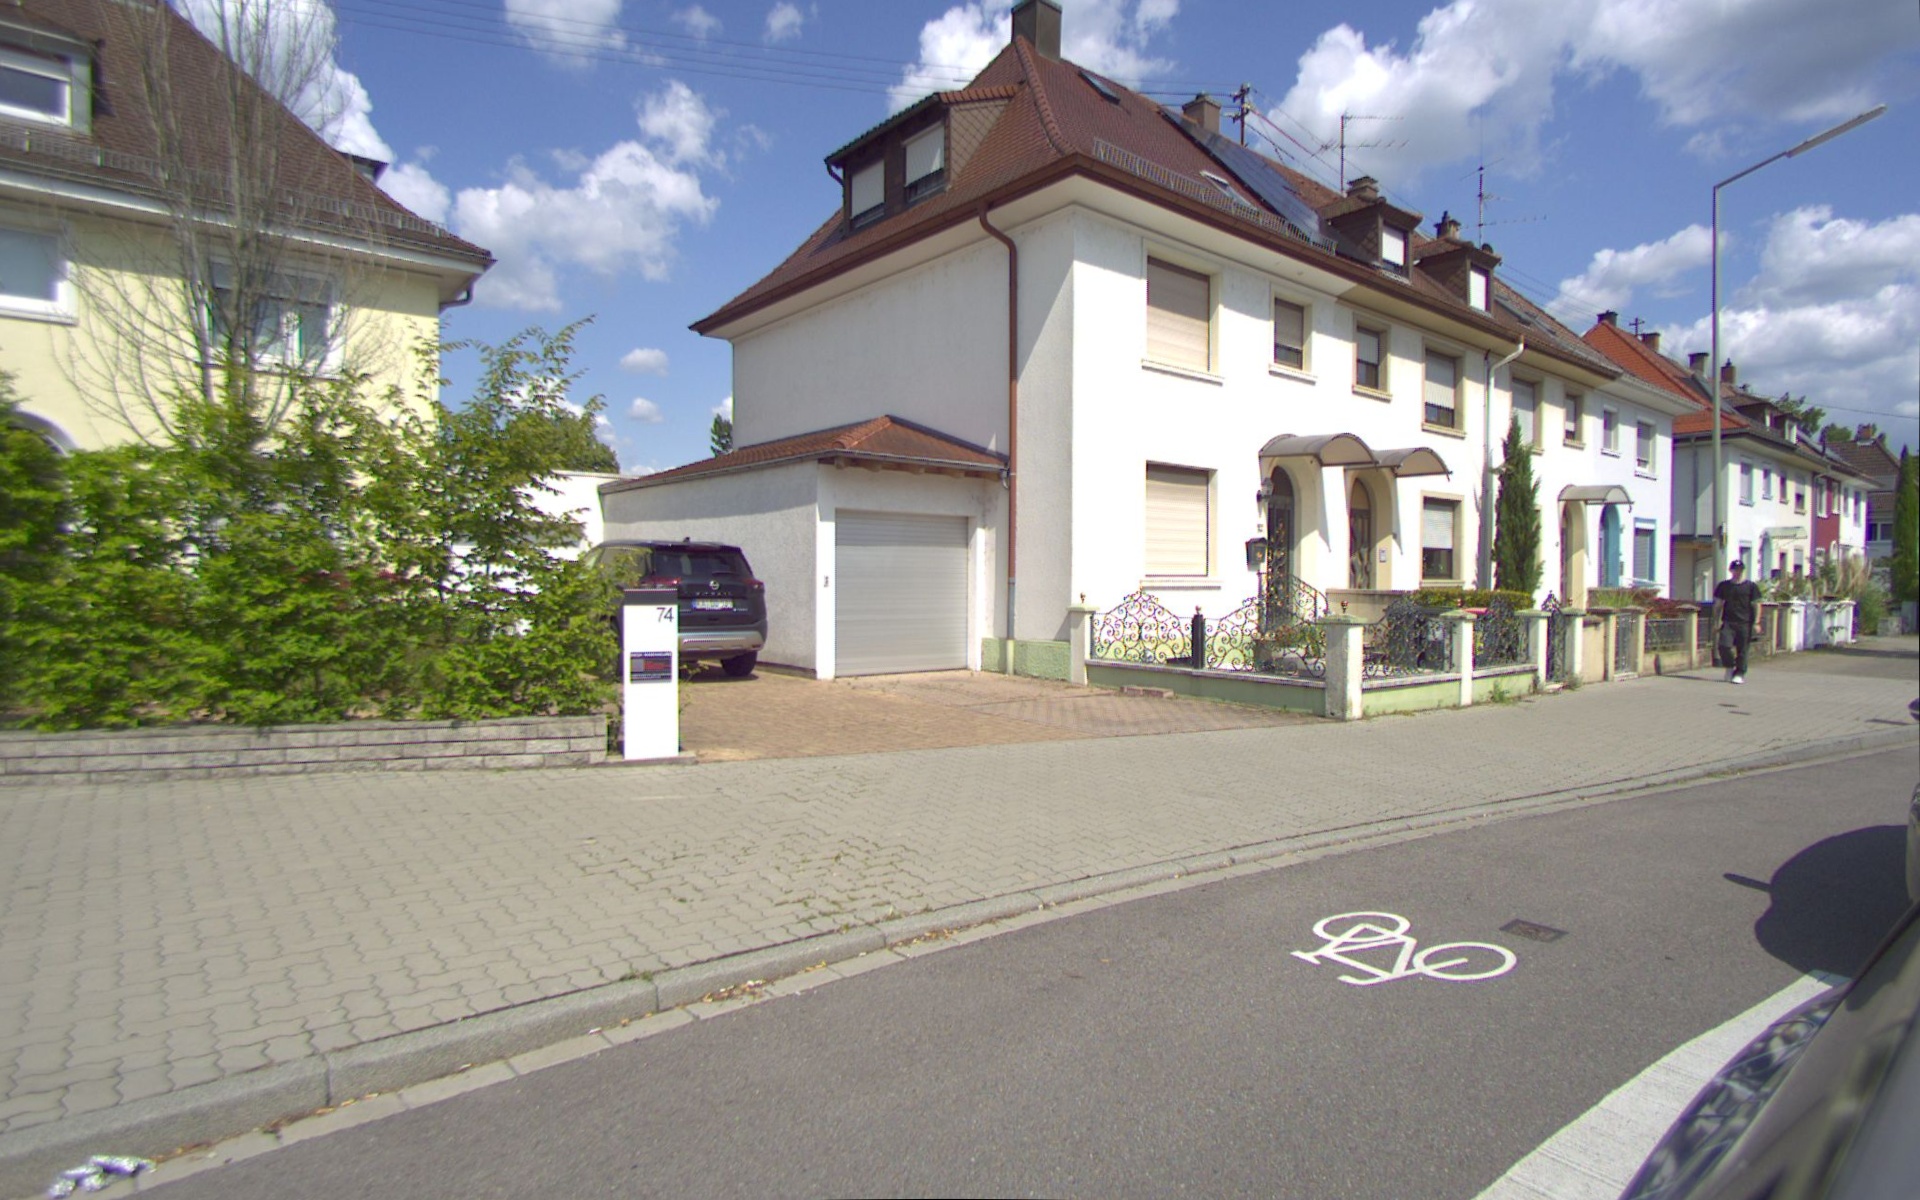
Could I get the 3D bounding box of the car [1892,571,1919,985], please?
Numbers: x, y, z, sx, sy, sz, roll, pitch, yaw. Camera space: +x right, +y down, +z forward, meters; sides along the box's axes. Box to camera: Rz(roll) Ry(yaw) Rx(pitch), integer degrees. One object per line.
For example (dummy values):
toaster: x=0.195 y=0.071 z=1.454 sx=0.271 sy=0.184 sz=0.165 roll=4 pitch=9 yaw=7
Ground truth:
car: x=5.693 y=0.647 z=4.596 sx=4.607 sy=1.492 sz=1.764 roll=0 pitch=1 yaw=-43

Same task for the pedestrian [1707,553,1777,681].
pedestrian: x=11.344 y=0.222 z=14.674 sx=0.921 sy=1.790 sz=0.592 roll=0 pitch=1 yaw=-41

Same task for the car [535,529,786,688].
car: x=-4.024 y=0.043 z=13.174 sx=1.833 sy=1.729 sz=3.998 roll=0 pitch=1 yaw=-37
